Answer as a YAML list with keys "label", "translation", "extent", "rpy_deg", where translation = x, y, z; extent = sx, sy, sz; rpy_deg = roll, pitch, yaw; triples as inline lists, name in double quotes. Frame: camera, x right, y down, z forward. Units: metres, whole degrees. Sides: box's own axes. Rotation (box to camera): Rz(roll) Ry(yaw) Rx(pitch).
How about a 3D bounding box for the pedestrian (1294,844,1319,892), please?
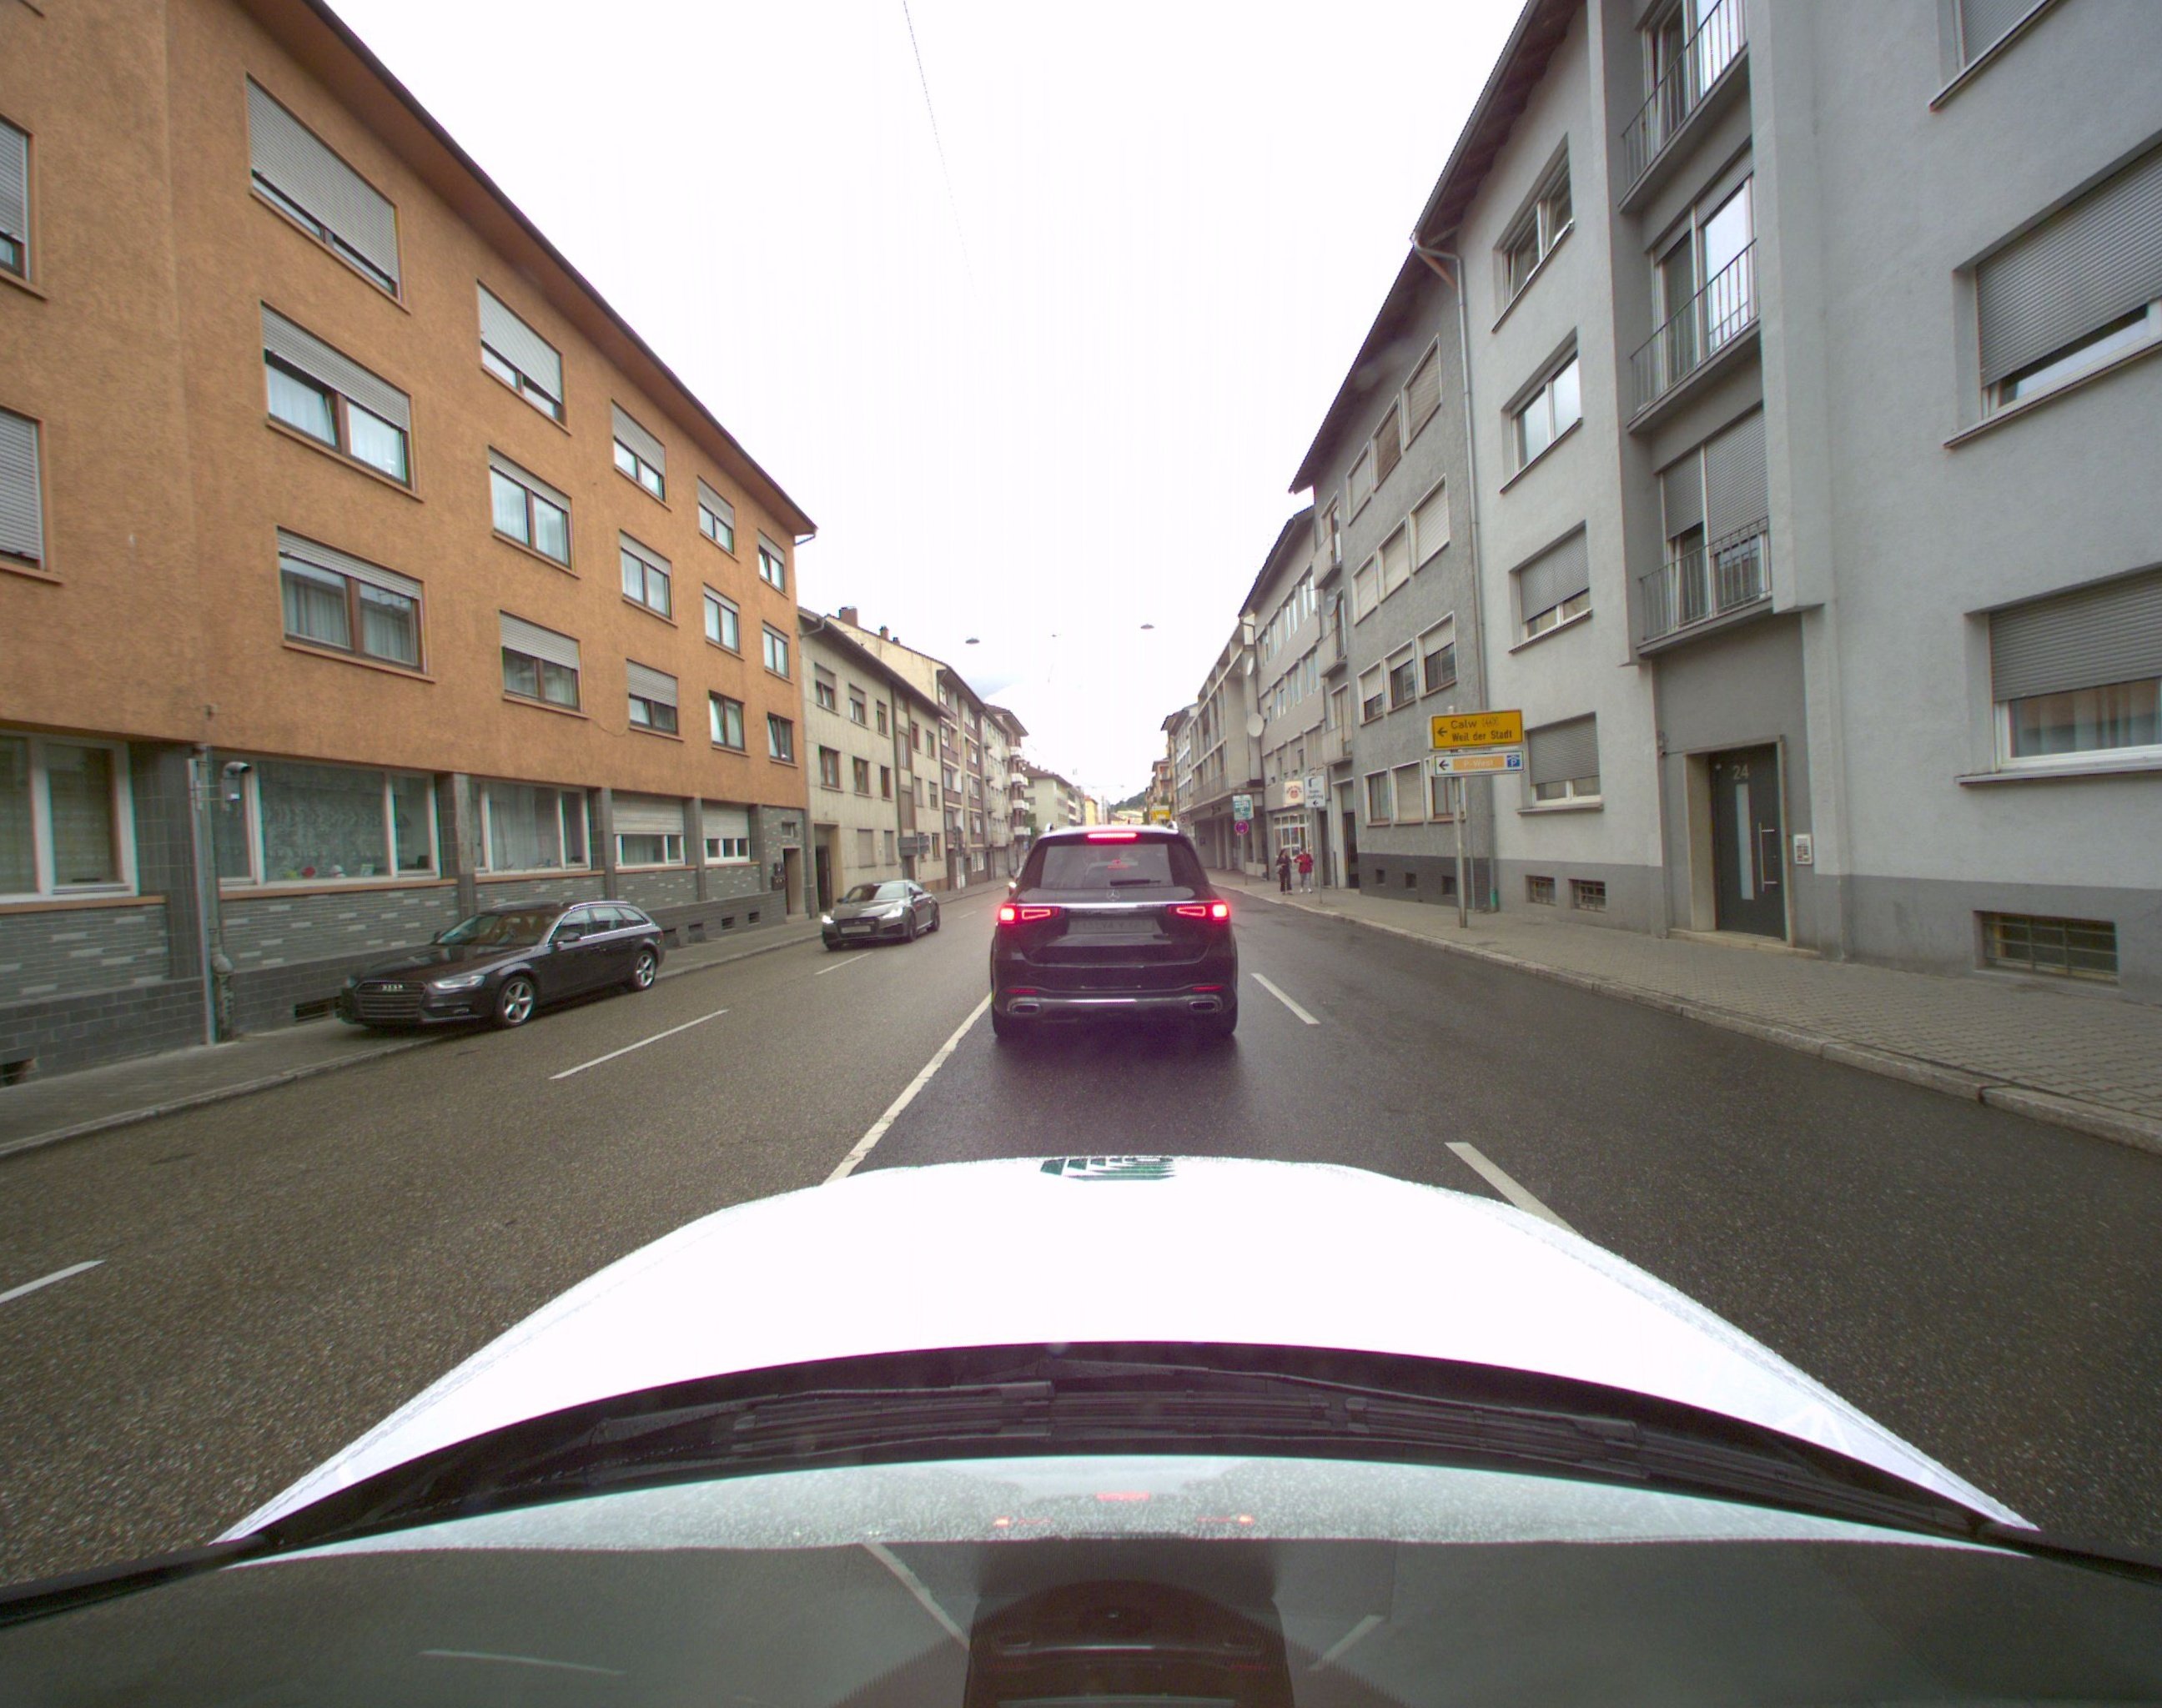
- label: "pedestrian"
  translation: [7.672, 0.471, 27.694]
  extent: [0.558, 1.578, 0.526]
  rpy_deg: [-5, 0, 1]

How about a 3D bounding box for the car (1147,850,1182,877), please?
- label: "car"
  translation: [5.681, 0.644, 55.996]
  extent: [1.933, 1.775, 4.747]
  rpy_deg: [-1, 0, 1]

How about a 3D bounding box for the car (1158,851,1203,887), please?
- label: "car"
  translation: [4.763, 0.699, 39.489]
  extent: [1.760, 1.580, 4.002]
  rpy_deg: [-2, 0, 2]

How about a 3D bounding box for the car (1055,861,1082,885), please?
- label: "car"
  translation: [-0.899, 1.385, 61.586]
  extent: [1.727, 1.575, 4.012]
  rpy_deg: [-6, 0, 1]

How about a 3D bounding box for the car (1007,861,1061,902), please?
- label: "car"
  translation: [-1.821, 1.051, 32.976]
  extent: [1.718, 1.390, 4.341]
  rpy_deg: [-4, 0, 2]

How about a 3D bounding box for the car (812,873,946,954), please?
- label: "car"
  translation: [-4.345, 1.223, 18.177]
  extent: [1.761, 1.346, 3.890]
  rpy_deg: [-6, 0, 2]

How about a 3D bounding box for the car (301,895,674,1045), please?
- label: "car"
  translation: [-7.737, 1.404, 11.331]
  extent: [1.789, 1.438, 4.528]
  rpy_deg: [0, 0, 1]

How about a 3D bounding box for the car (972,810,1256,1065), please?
- label: "car"
  translation: [0.280, 0.597, 7.801]
  extent: [2.018, 1.806, 4.001]
  rpy_deg: [0, 0, 1]

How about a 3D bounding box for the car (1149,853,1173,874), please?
- label: "car"
  translation: [6.425, 0.774, 65.906]
  extent: [1.800, 1.606, 4.216]
  rpy_deg: [-1, 0, 4]

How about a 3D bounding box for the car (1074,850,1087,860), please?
- label: "car"
  translation: [-0.072, 0.143, 122.831]
  extent: [1.642, 1.439, 4.127]
  rpy_deg: [-4, 0, 2]

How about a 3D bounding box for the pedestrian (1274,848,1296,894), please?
- label: "pedestrian"
  translation: [6.961, 0.566, 27.792]
  extent: [0.504, 1.500, 0.563]
  rpy_deg: [-5, 0, 4]
